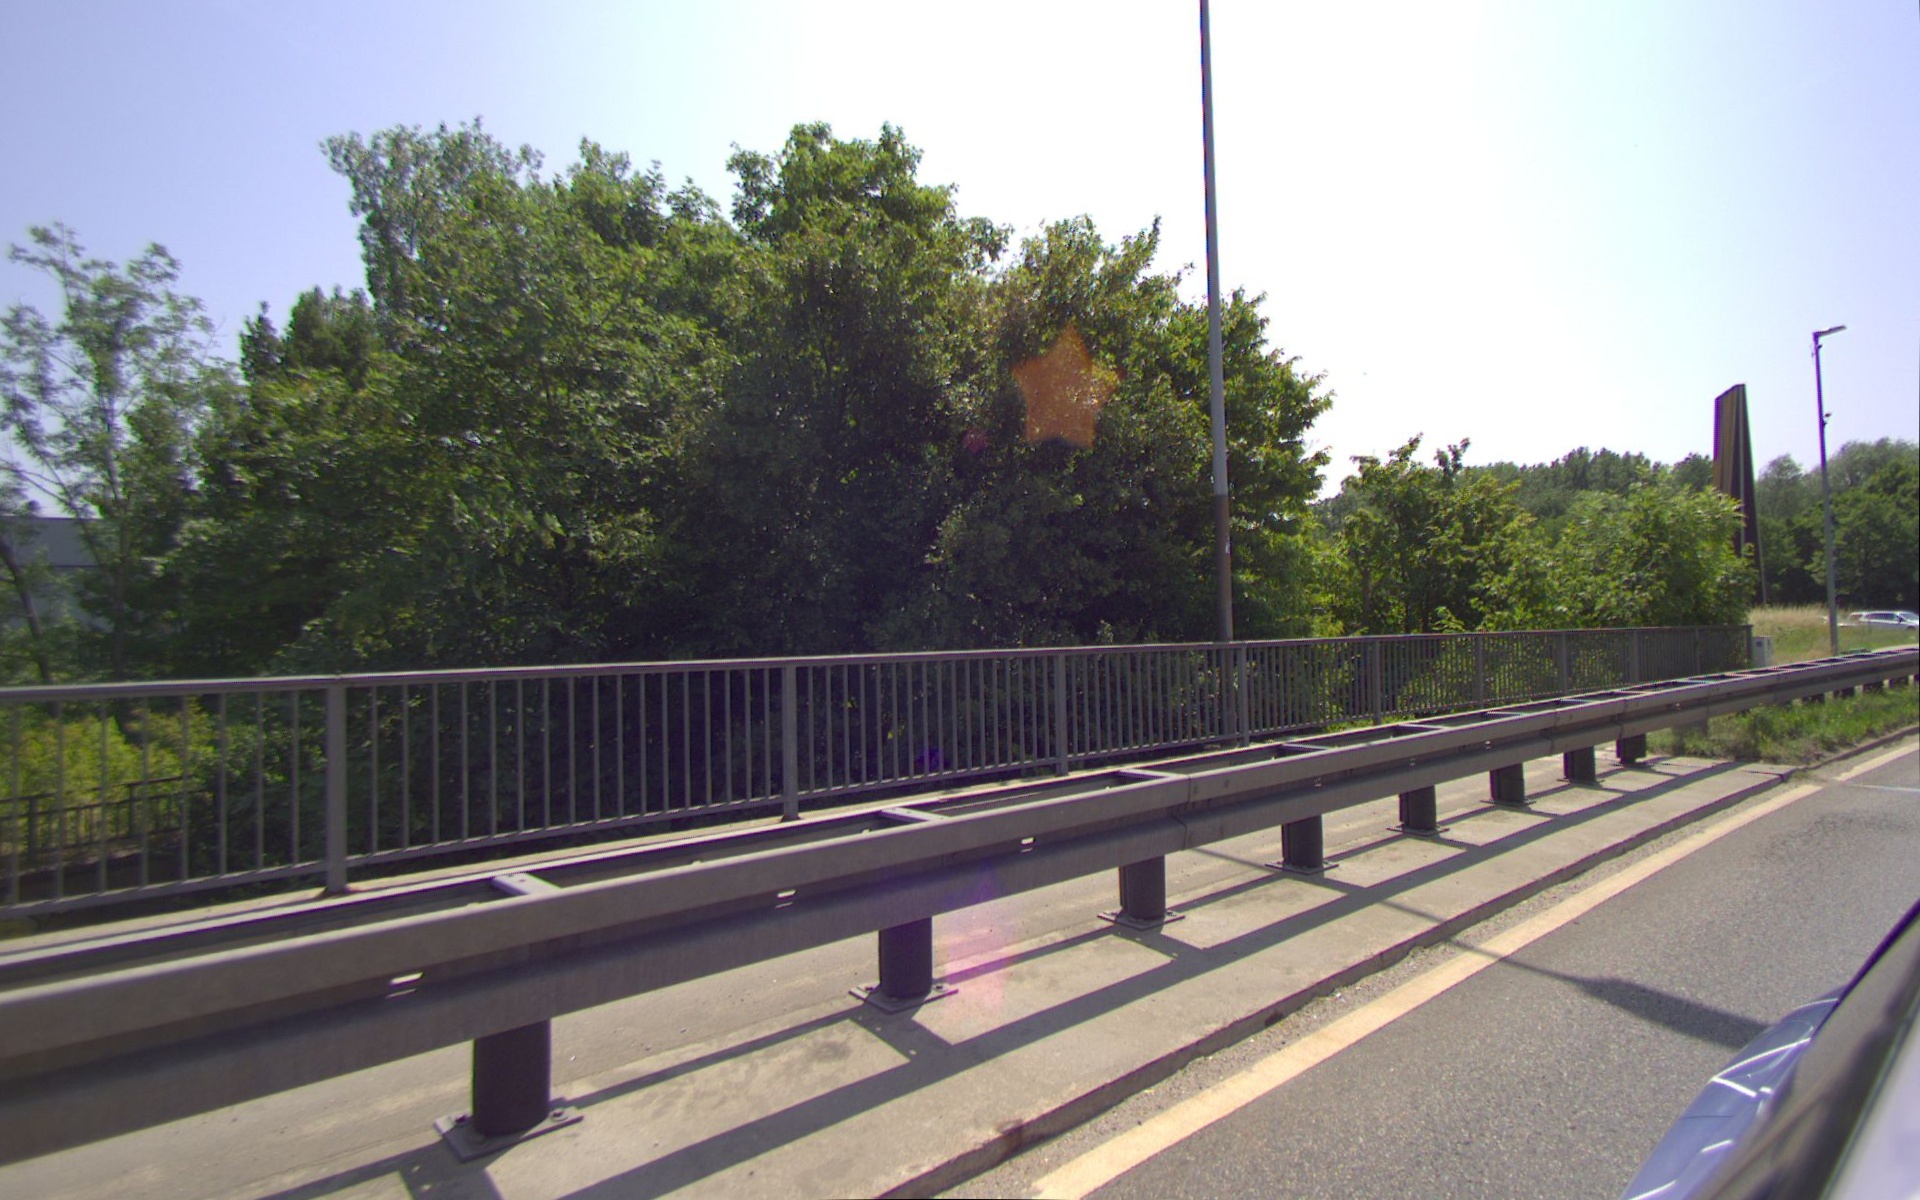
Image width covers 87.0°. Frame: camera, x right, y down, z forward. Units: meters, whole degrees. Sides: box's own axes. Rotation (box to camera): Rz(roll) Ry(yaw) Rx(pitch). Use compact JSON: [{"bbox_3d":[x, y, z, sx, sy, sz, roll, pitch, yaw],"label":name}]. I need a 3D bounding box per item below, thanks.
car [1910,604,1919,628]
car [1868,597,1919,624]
[{"bbox_3d":[59.381,0.970,60.087,1.831,1.442,4.188,0,0,-3],"label":"car"},{"bbox_3d":[55.835,0.613,58.944,1.831,1.525,4.299,0,0,-3],"label":"car"}]
